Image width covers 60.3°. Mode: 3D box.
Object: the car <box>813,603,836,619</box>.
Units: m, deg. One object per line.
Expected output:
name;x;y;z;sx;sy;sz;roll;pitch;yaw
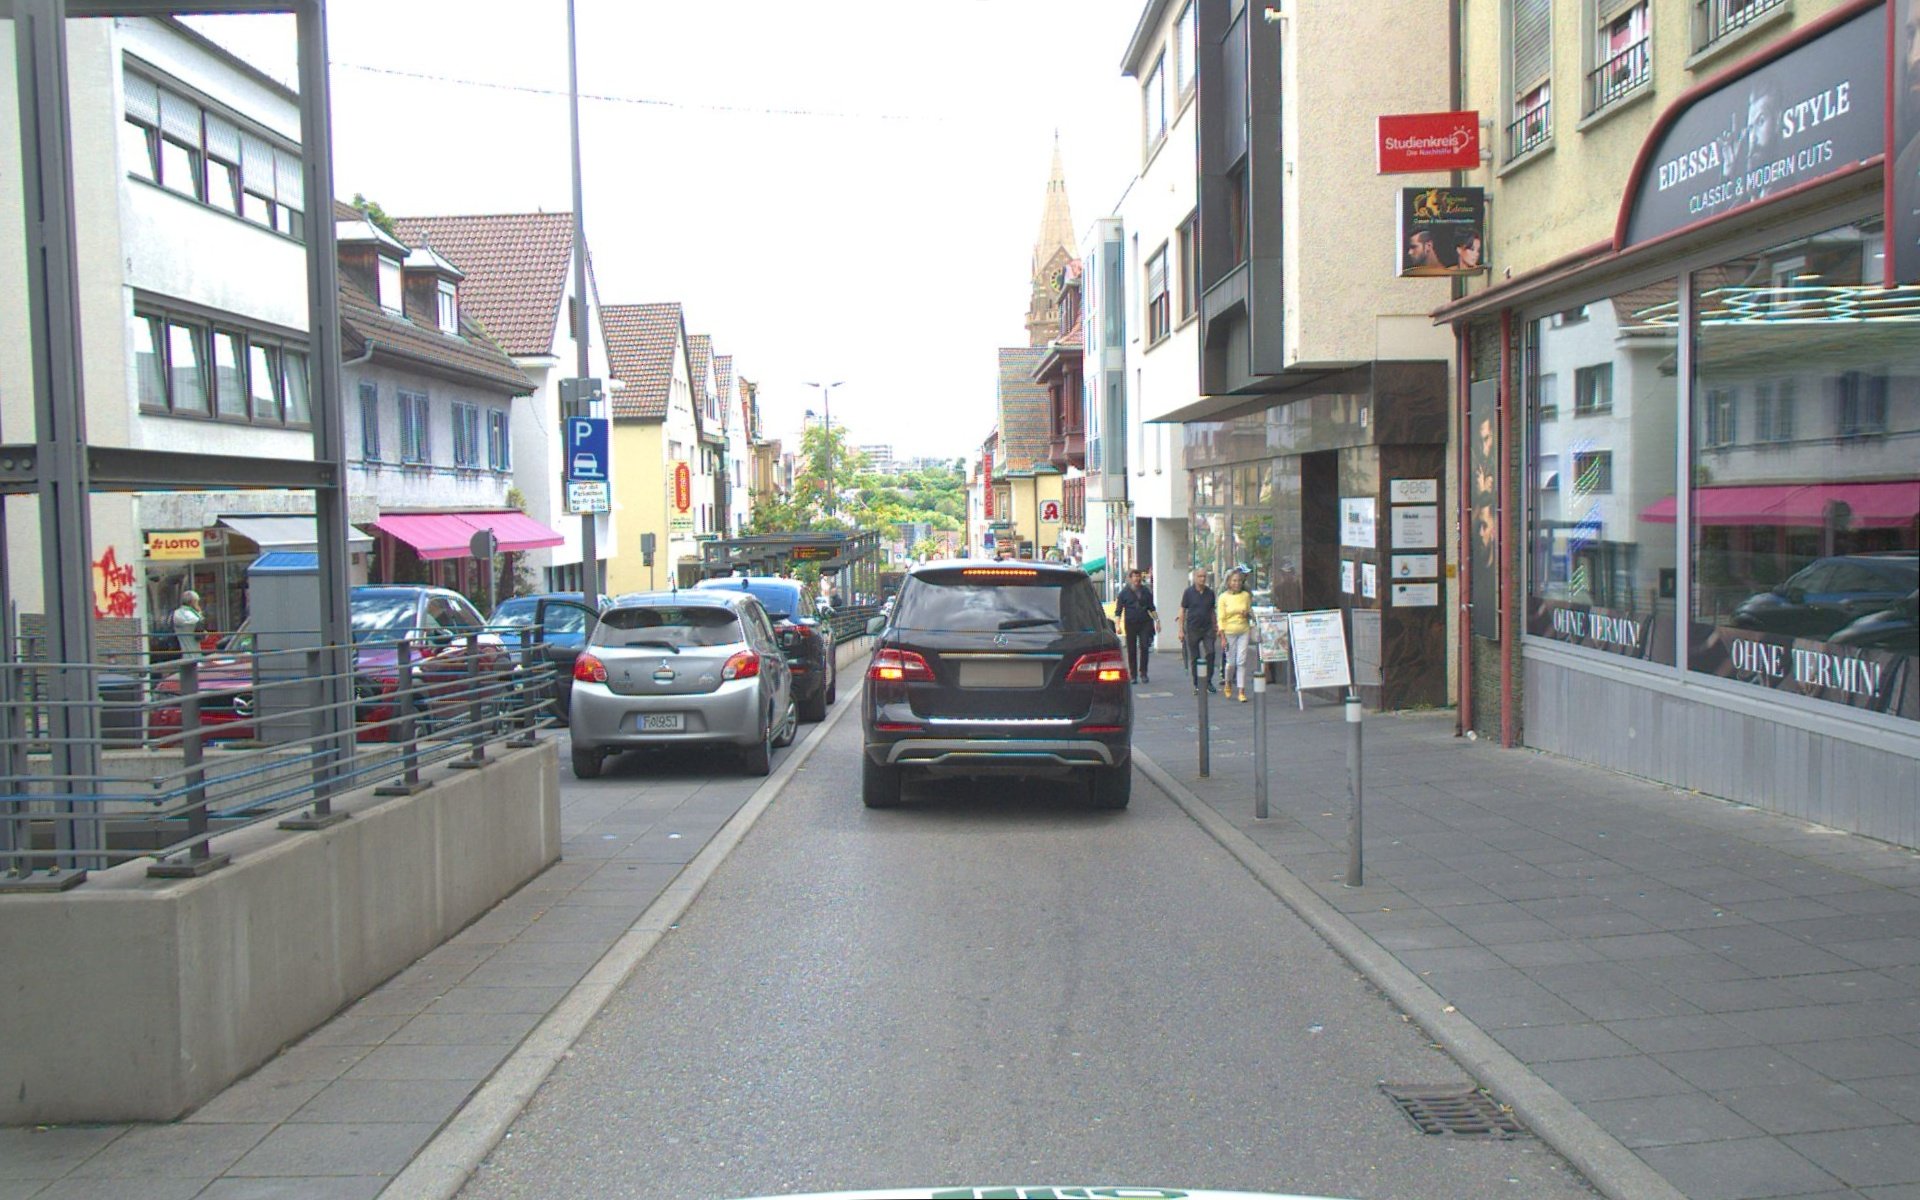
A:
car;-9.511;0.768;116.012;1.360;1.089;3.112;-2;0;-1

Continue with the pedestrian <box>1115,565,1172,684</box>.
pedestrian;2.847;0.373;25.718;0.697;1.784;0.787;-3;0;-1

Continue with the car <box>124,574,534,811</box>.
car;-4.765;0.618;13.179;1.703;1.570;4.192;1;0;-1

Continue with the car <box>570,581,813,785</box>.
car;-2.231;0.636;14.591;1.587;1.559;3.669;1;0;-1

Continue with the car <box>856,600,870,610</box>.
car;-11.127;0.542;189.678;1.360;1.089;3.112;-2;0;-1

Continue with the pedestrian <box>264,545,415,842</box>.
pedestrian;-3.709;0.531;9.935;0.522;1.701;0.901;0;1;2

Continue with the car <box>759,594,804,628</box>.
car;-8.203;0.501;76.336;1.655;1.516;3.978;1;0;-1

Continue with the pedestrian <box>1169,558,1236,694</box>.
pedestrian;3.292;0.343;22.514;0.697;1.784;0.785;-3;0;-1

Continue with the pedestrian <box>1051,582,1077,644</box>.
pedestrian;2.892;0.369;46.173;0.609;1.718;0.565;1;0;-7

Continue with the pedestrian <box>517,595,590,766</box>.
pedestrian;-3.580;0.697;14.587;0.457;1.456;0.492;-3;0;-1

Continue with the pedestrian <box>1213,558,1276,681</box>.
pedestrian;4.138;0.281;24.064;0.650;1.718;0.542;-4;0;-7

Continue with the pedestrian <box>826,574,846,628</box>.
pedestrian;-3.964;0.020;52.988;0.599;1.718;0.563;1;0;-3

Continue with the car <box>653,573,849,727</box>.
car;-2.432;0.541;20.268;1.917;1.668;4.313;1;0;-1

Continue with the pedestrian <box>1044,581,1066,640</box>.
pedestrian;2.865;0.314;49.785;0.532;1.756;0.527;-1;0;-7

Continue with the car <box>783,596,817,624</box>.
car;-9.020;0.535;93.461;1.627;1.516;3.747;1;0;-1

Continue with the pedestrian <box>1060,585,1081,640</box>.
pedestrian;3.462;0.386;51.906;0.562;1.718;0.565;1;0;-7

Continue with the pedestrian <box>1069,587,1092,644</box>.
pedestrian;3.722;0.467;51.047;0.562;1.718;0.565;-2;0;-7

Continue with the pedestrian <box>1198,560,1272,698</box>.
pedestrian;3.432;0.350;20.684;0.696;1.659;0.835;-3;0;-1

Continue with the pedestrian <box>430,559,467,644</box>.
pedestrian;-10.474;0.039;33.895;0.566;1.718;0.576;1;0;-2

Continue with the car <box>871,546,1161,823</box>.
car;0.277;0.548;12.694;1.862;1.777;3.998;1;0;-3

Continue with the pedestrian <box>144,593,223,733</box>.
pedestrian;-9.869;0.784;21.024;0.634;1.718;0.663;-1;1;39

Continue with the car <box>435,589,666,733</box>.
car;-4.813;0.654;19.965;1.703;1.501;3.885;1;1;1
